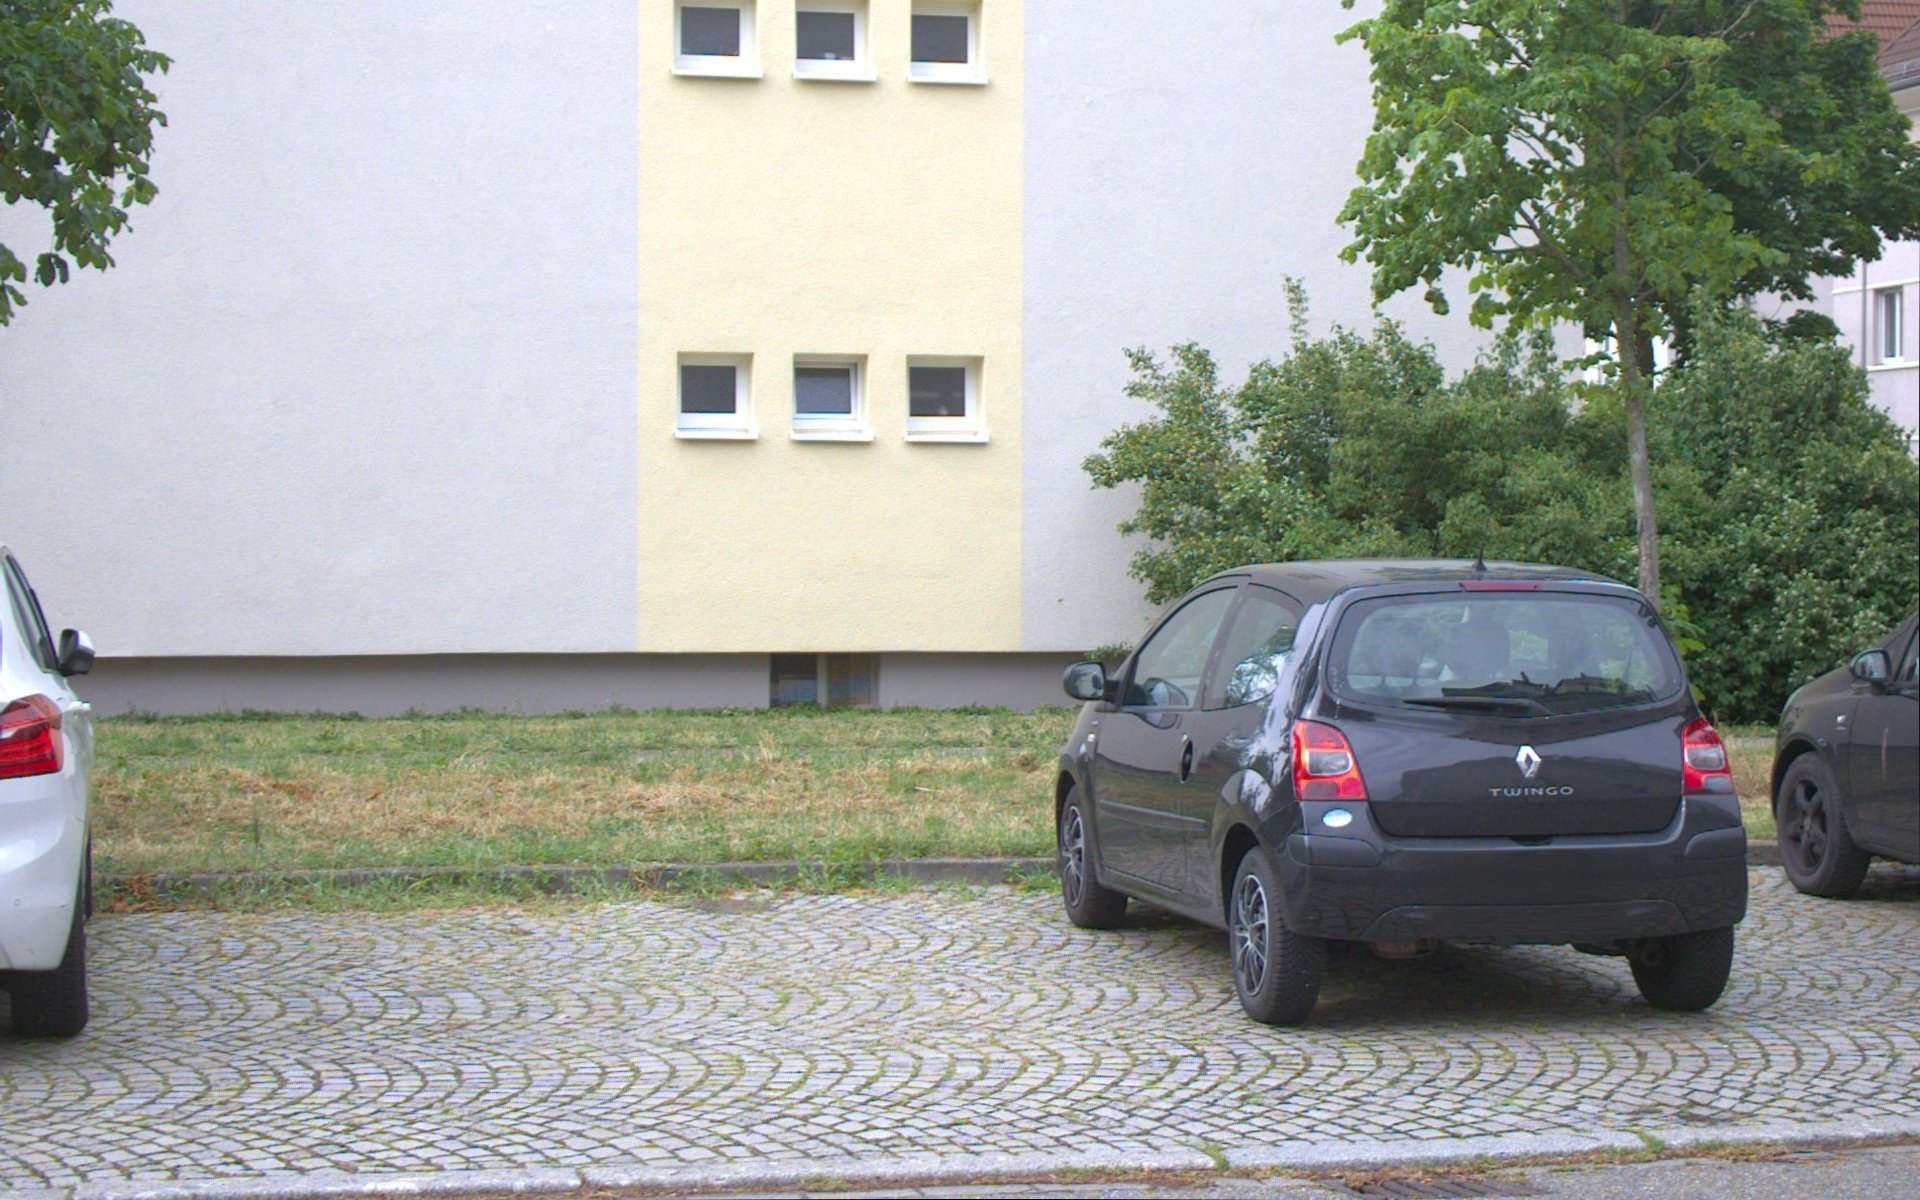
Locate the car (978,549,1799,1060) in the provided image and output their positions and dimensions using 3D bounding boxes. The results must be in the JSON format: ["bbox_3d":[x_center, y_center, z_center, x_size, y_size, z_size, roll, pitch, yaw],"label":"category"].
[{"bbox_3d":[1.351,0.595,12.877,1.835,1.458,4.562,0,2,-9],"label":"car"}]

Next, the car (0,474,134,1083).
[{"bbox_3d":[-3.789,0.426,11.584,1.878,1.555,4.151,1,4,-13],"label":"car"}]

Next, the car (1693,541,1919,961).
[{"bbox_3d":[4.554,0.597,13.426,1.835,1.560,4.359,0,2,-9],"label":"car"}]
